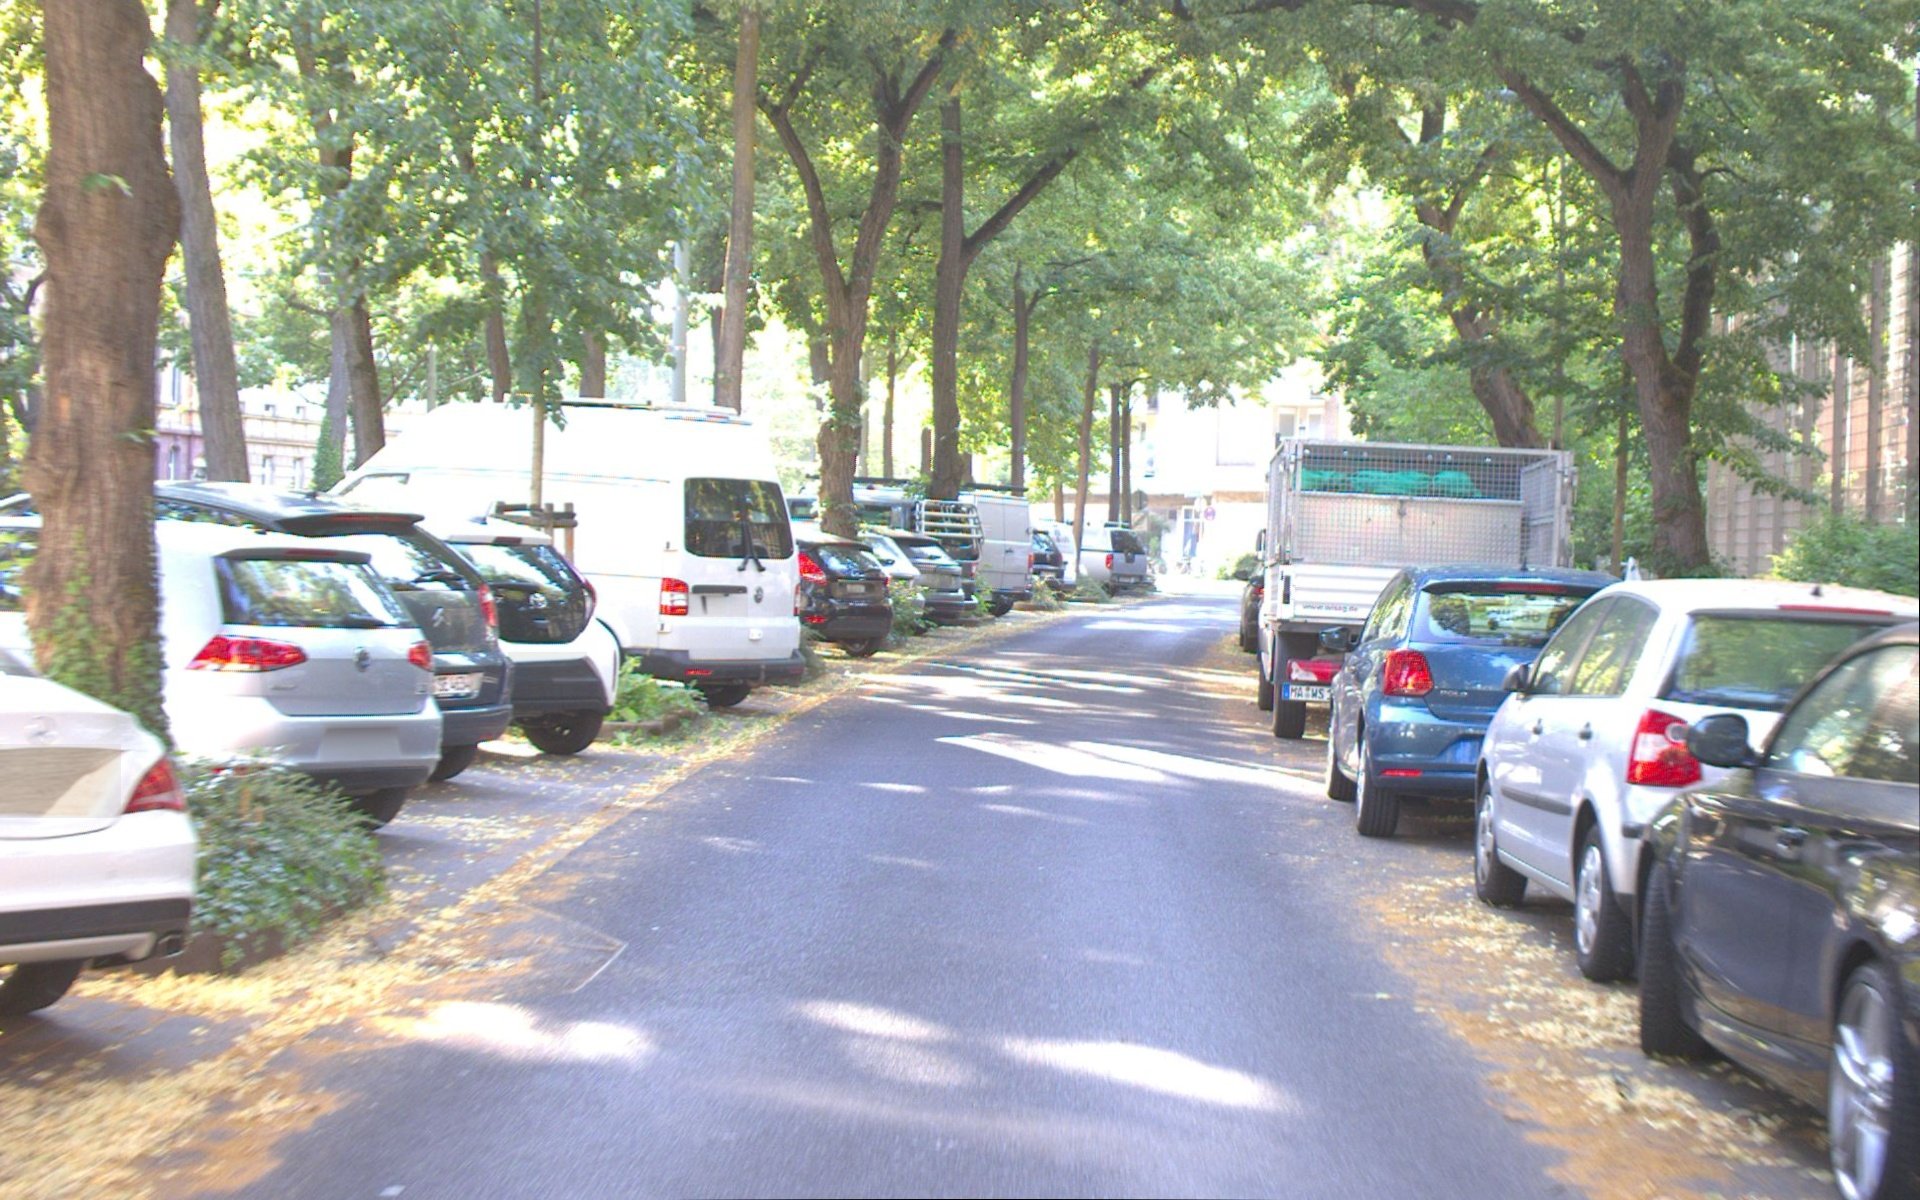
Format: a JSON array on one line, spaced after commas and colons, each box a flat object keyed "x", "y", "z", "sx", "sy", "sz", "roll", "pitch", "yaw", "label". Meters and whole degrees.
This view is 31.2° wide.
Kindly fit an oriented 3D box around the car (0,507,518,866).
[{"x": -4.456, "y": 0.305, "z": 16.808, "sx": 4.238, "sy": 1.436, "sz": 1.853, "roll": 5, "pitch": 1, "yaw": 31, "label": "car"}]

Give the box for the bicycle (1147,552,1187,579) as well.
[{"x": 7.957, "y": -1.328, "z": 132.380, "sx": 0.638, "sy": 1.019, "sz": 2.089, "roll": 0, "pitch": 1, "yaw": -24, "label": "bicycle"}]

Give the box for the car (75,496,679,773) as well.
[{"x": -3.837, "y": 0.195, "z": 22.478, "sx": 3.546, "sy": 1.488, "sz": 1.822, "roll": 5, "pitch": 2, "yaw": 35, "label": "car"}]

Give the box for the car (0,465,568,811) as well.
[{"x": -4.486, "y": 0.135, "z": 19.618, "sx": 4.034, "sy": 1.656, "sz": 1.854, "roll": 5, "pitch": 1, "yaw": 28, "label": "car"}]

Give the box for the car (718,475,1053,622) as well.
[{"x": -1.327, "y": -0.911, "z": 59.352, "sx": 5.508, "sy": 2.129, "sz": 2.076, "roll": 5, "pitch": 2, "yaw": 36, "label": "car"}]

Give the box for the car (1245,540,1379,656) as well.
[{"x": 4.688, "y": -0.061, "z": 46.173, "sx": 1.672, "sy": 1.449, "sz": 3.949, "roll": 1, "pitch": 1, "yaw": 5, "label": "car"}]

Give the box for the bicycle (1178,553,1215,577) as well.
[{"x": 8.971, "y": -1.339, "z": 130.585, "sx": 0.542, "sy": 0.901, "sz": 1.736, "roll": 0, "pitch": 1, "yaw": -28, "label": "bicycle"}]

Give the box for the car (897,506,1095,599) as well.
[{"x": 0.779, "y": -1.072, "z": 77.355, "sx": 4.158, "sy": 1.775, "sz": 1.879, "roll": 5, "pitch": 2, "yaw": 42, "label": "car"}]

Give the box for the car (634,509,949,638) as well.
[{"x": -2.357, "y": -0.375, "z": 47.618, "sx": 4.090, "sy": 1.483, "sz": 1.780, "roll": 5, "pitch": 2, "yaw": 37, "label": "car"}]

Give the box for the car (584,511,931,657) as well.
[{"x": -2.432, "y": -0.202, "z": 40.859, "sx": 3.822, "sy": 1.434, "sz": 1.821, "roll": 5, "pitch": 2, "yaw": 40, "label": "car"}]

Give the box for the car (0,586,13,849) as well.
[{"x": -4.313, "y": 0.522, "z": 7.404, "sx": 4.307, "sy": 1.399, "sz": 1.741, "roll": 5, "pitch": 2, "yaw": 28, "label": "car"}]

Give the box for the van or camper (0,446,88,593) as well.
[{"x": -17.323, "y": -1.330, "z": 57.213, "sx": 5.544, "sy": 2.362, "sz": 2.303, "roll": 1, "pitch": 1, "yaw": 33, "label": "van or camper"}]

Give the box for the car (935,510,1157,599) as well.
[{"x": 2.068, "y": -1.111, "z": 83.222, "sx": 4.996, "sy": 1.775, "sz": 1.983, "roll": 5, "pitch": 1, "yaw": 34, "label": "car"}]

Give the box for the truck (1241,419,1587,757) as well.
[{"x": 3.553, "y": -0.154, "z": 28.254, "sx": 2.296, "sy": 2.378, "sz": 6.933, "roll": 1, "pitch": 1, "yaw": 4, "label": "truck"}]

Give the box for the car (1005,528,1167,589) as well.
[{"x": 3.580, "y": -1.182, "z": 97.922, "sx": 4.195, "sy": 1.434, "sz": 1.828, "roll": 5, "pitch": 1, "yaw": 32, "label": "car"}]

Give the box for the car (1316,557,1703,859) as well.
[{"x": 2.956, "y": 0.517, "z": 19.204, "sx": 1.672, "sy": 1.453, "sz": 3.893, "roll": 1, "pitch": 1, "yaw": 3, "label": "car"}]

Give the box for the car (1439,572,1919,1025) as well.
[{"x": 2.989, "y": 0.659, "z": 13.507, "sx": 1.672, "sy": 1.453, "sz": 3.893, "roll": 1, "pitch": 1, "yaw": 1, "label": "car"}]

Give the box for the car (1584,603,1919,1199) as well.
[{"x": 2.840, "y": 0.764, "z": 8.932, "sx": 1.672, "sy": 1.386, "sz": 4.266, "roll": 1, "pitch": 1, "yaw": 1, "label": "car"}]

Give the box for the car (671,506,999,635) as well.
[{"x": -1.857, "y": -0.438, "z": 50.255, "sx": 4.567, "sy": 1.535, "sz": 1.930, "roll": 5, "pitch": 2, "yaw": 39, "label": "car"}]

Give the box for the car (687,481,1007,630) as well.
[{"x": -1.781, "y": -0.703, "z": 53.020, "sx": 4.709, "sy": 1.936, "sz": 1.930, "roll": 5, "pitch": 2, "yaw": 39, "label": "car"}]

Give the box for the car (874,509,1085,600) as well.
[{"x": 0.407, "y": -0.983, "z": 74.155, "sx": 4.157, "sy": 1.638, "sz": 1.911, "roll": 5, "pitch": 2, "yaw": 38, "label": "car"}]

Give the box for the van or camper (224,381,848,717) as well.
[{"x": -3.605, "y": -0.462, "z": 28.873, "sx": 4.880, "sy": 2.462, "sz": 2.041, "roll": 4, "pitch": 1, "yaw": 33, "label": "van or camper"}]

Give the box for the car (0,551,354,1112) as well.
[{"x": -4.200, "y": 0.488, "z": 10.471, "sx": 4.460, "sy": 1.399, "sz": 1.853, "roll": 5, "pitch": 2, "yaw": 31, "label": "car"}]
